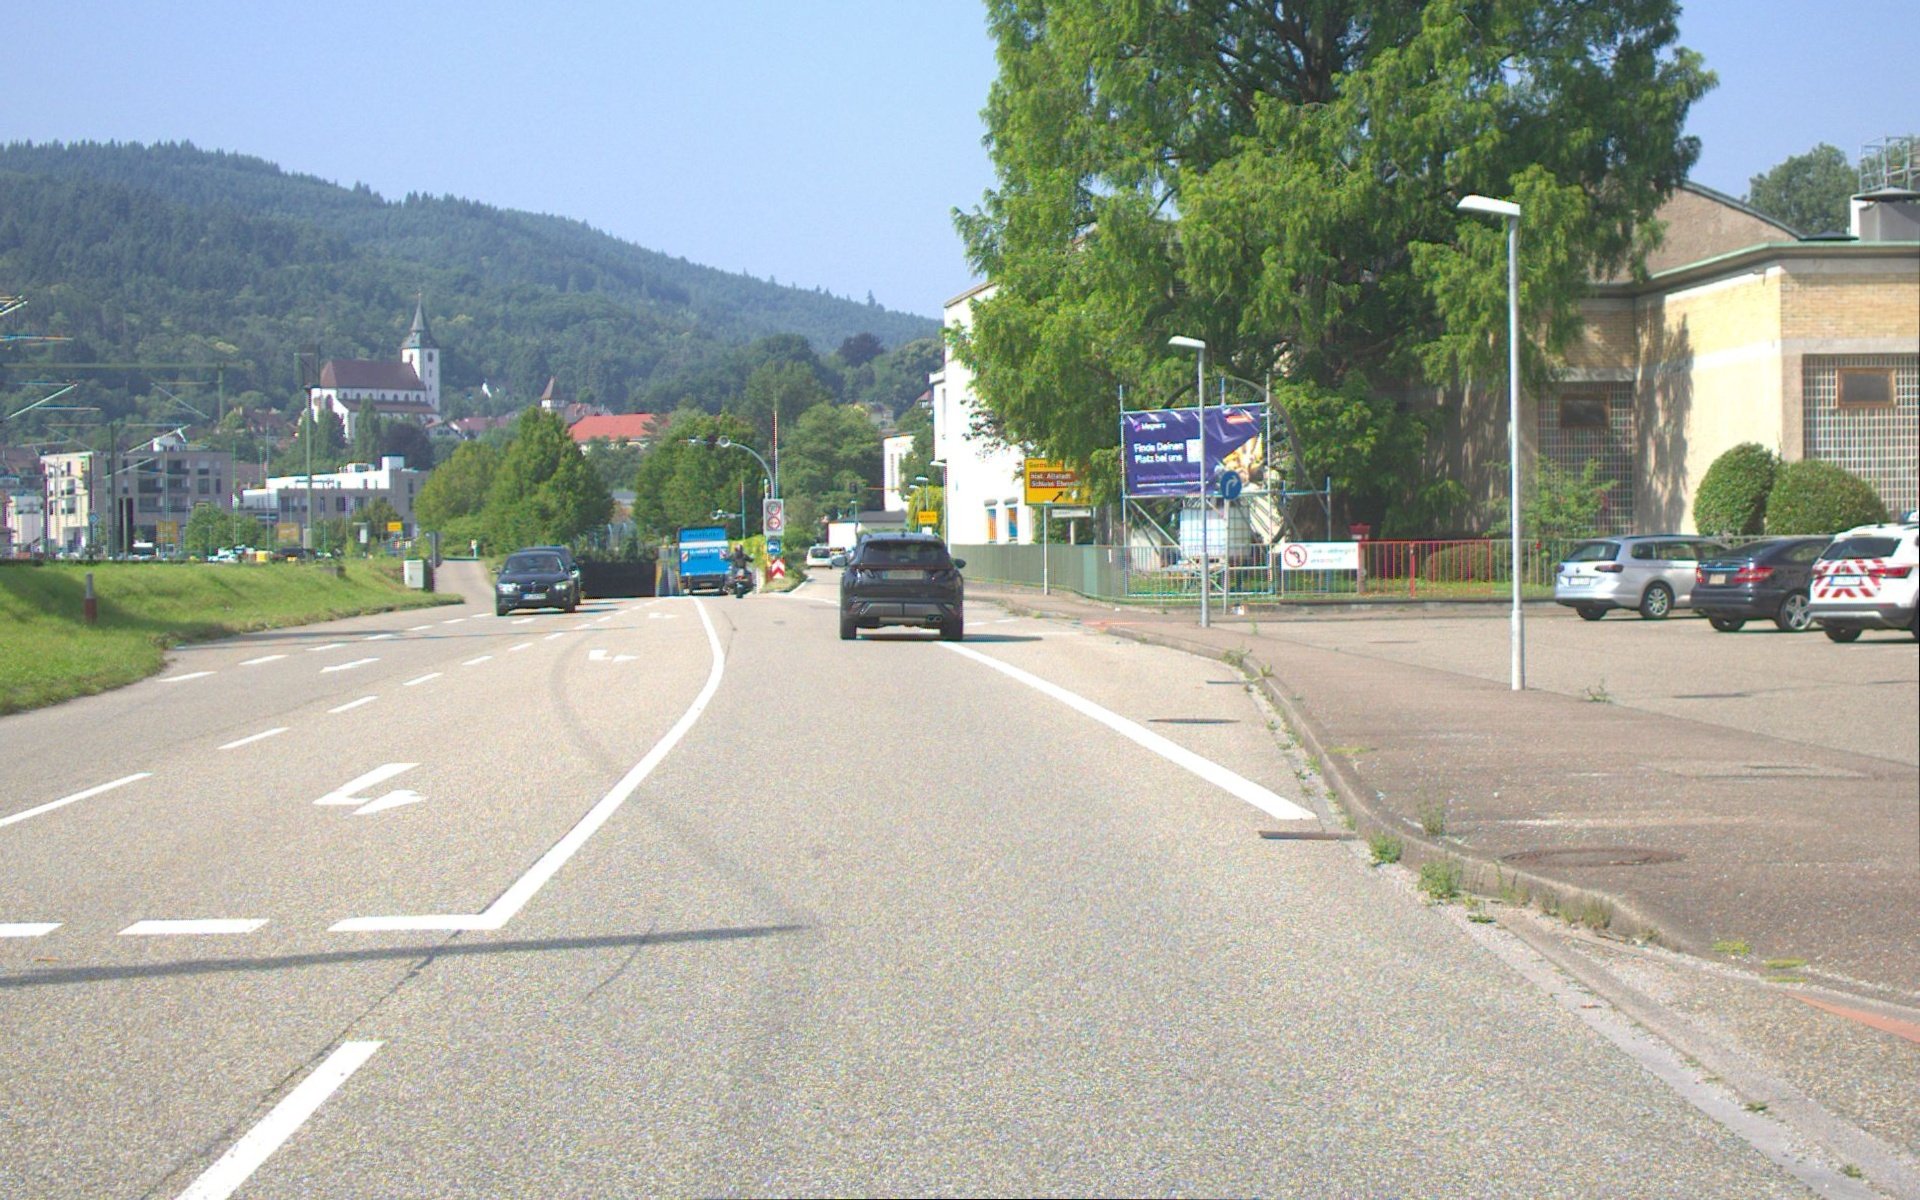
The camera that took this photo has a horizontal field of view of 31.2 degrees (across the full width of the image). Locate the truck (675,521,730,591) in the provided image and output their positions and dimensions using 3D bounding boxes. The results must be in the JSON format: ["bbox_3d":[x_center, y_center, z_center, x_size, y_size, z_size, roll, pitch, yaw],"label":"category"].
[{"bbox_3d":[-11.252,-1.963,149.844,2.312,2.960,5.967,-1,1,-5],"label":"truck"}]

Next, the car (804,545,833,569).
[{"bbox_3d":[-9.058,-2.771,220.460,1.767,1.481,4.000,1,0,-1],"label":"car"}]

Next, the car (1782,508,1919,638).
[{"bbox_3d":[13.212,-0.386,46.073,4.160,1.666,1.870,-1,1,-31],"label":"car"}]

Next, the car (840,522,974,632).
[{"bbox_3d":[-0.856,-0.383,53.393,1.919,1.634,4.001,0,1,-3],"label":"car"}]

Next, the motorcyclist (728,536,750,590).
[{"bbox_3d":[-6.338,-1.067,98.653,0.606,1.515,0.863,-1,1,-2],"label":"motorcyclist"}]

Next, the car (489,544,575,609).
[{"bbox_3d":[-9.800,-0.563,78.918,1.755,1.424,4.001,0,1,-5],"label":"car"}]

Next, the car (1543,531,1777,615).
[{"bbox_3d":[12.244,-0.491,60.066,3.987,1.396,1.664,-1,1,-33],"label":"car"}]

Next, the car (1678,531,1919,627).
[{"bbox_3d":[12.895,-0.338,51.930,3.987,1.396,1.664,-1,1,-33],"label":"car"}]

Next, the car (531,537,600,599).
[{"bbox_3d":[-10.668,-0.880,93.190,1.755,1.634,4.001,0,1,-5],"label":"car"}]

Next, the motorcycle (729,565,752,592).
[{"bbox_3d":[-6.301,-0.620,98.657,0.606,0.751,1.415,-1,1,-2],"label":"motorcycle"}]
